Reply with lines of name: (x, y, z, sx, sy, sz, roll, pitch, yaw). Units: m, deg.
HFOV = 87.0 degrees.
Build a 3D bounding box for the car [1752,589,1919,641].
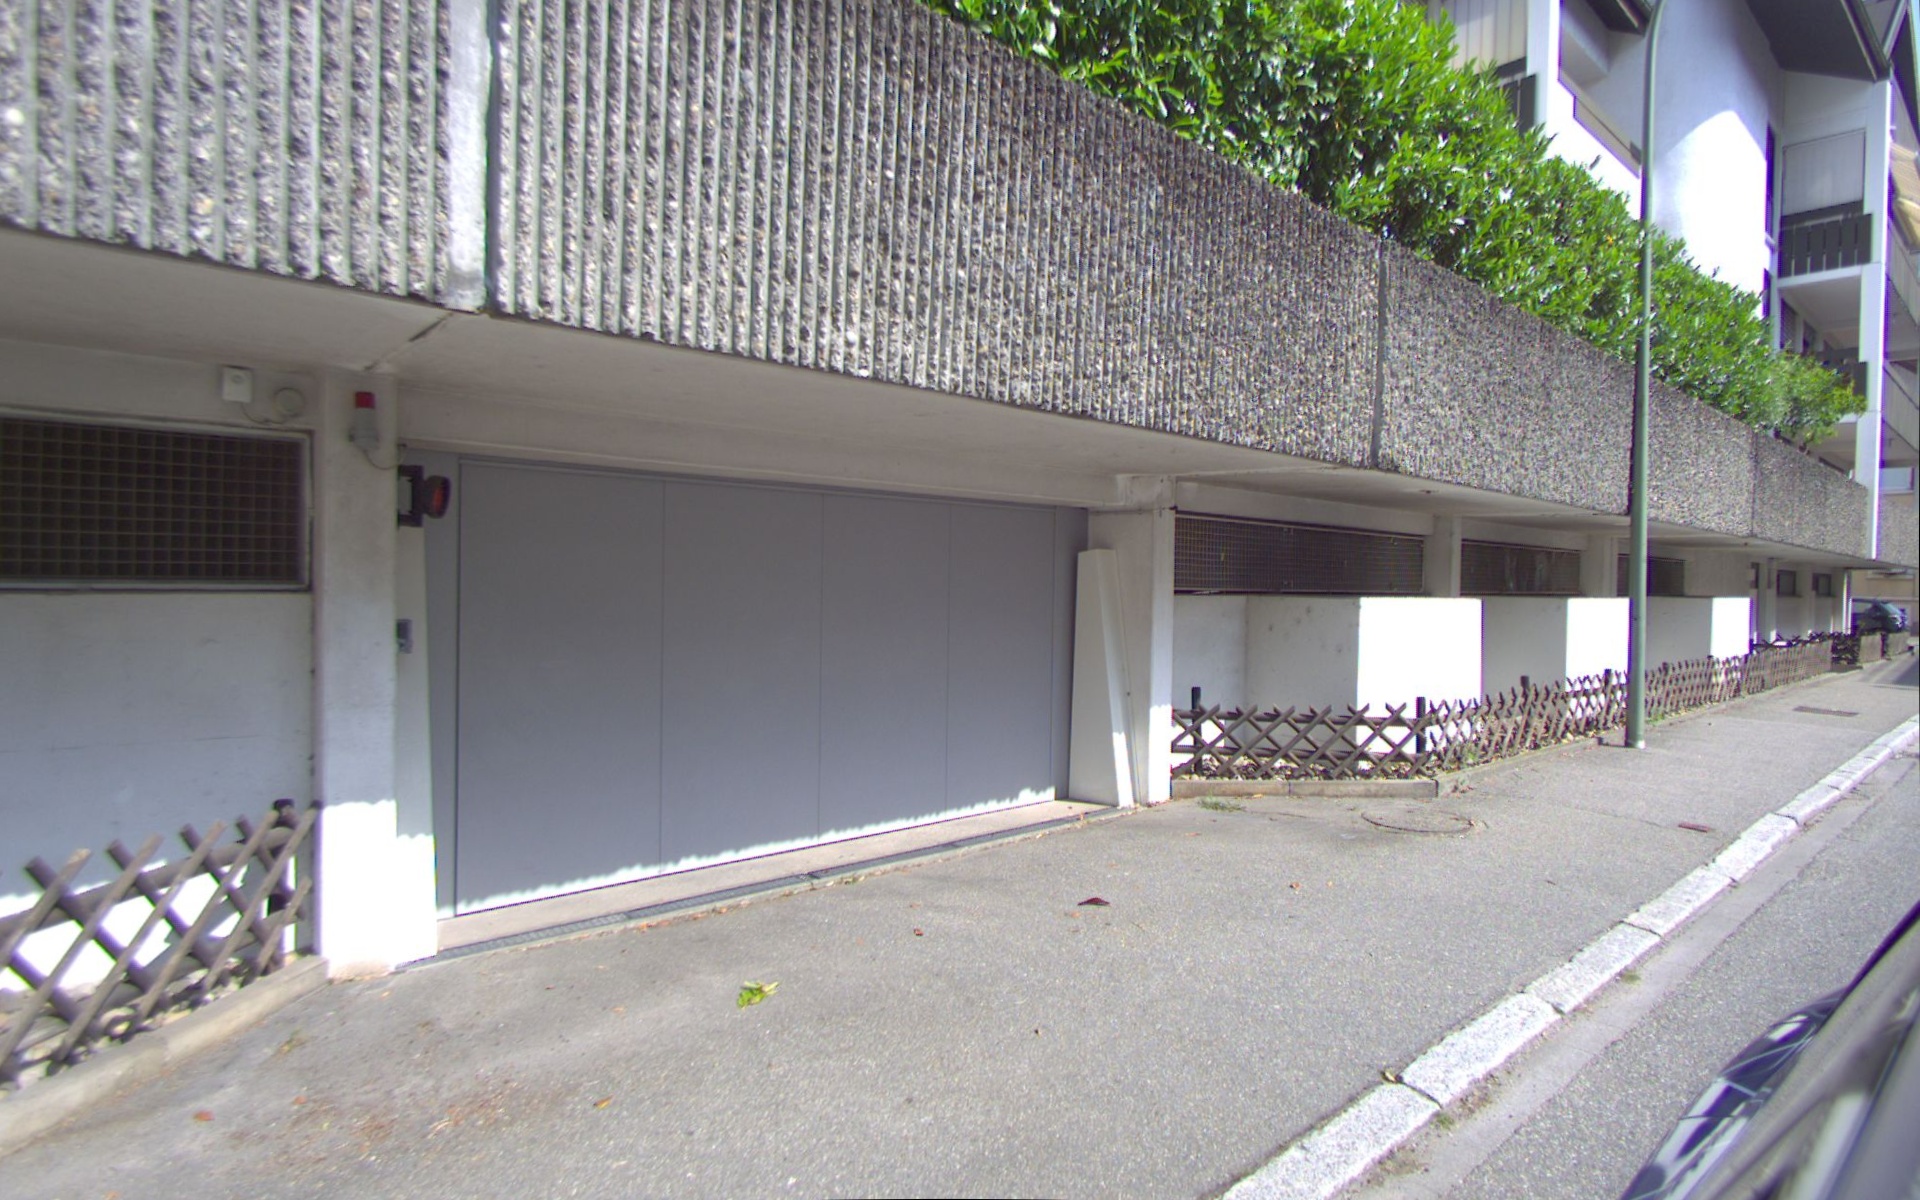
car: (27.012, 0.439, 31.247, 1.671, 1.498, 3.831, 1, -1, -43)
